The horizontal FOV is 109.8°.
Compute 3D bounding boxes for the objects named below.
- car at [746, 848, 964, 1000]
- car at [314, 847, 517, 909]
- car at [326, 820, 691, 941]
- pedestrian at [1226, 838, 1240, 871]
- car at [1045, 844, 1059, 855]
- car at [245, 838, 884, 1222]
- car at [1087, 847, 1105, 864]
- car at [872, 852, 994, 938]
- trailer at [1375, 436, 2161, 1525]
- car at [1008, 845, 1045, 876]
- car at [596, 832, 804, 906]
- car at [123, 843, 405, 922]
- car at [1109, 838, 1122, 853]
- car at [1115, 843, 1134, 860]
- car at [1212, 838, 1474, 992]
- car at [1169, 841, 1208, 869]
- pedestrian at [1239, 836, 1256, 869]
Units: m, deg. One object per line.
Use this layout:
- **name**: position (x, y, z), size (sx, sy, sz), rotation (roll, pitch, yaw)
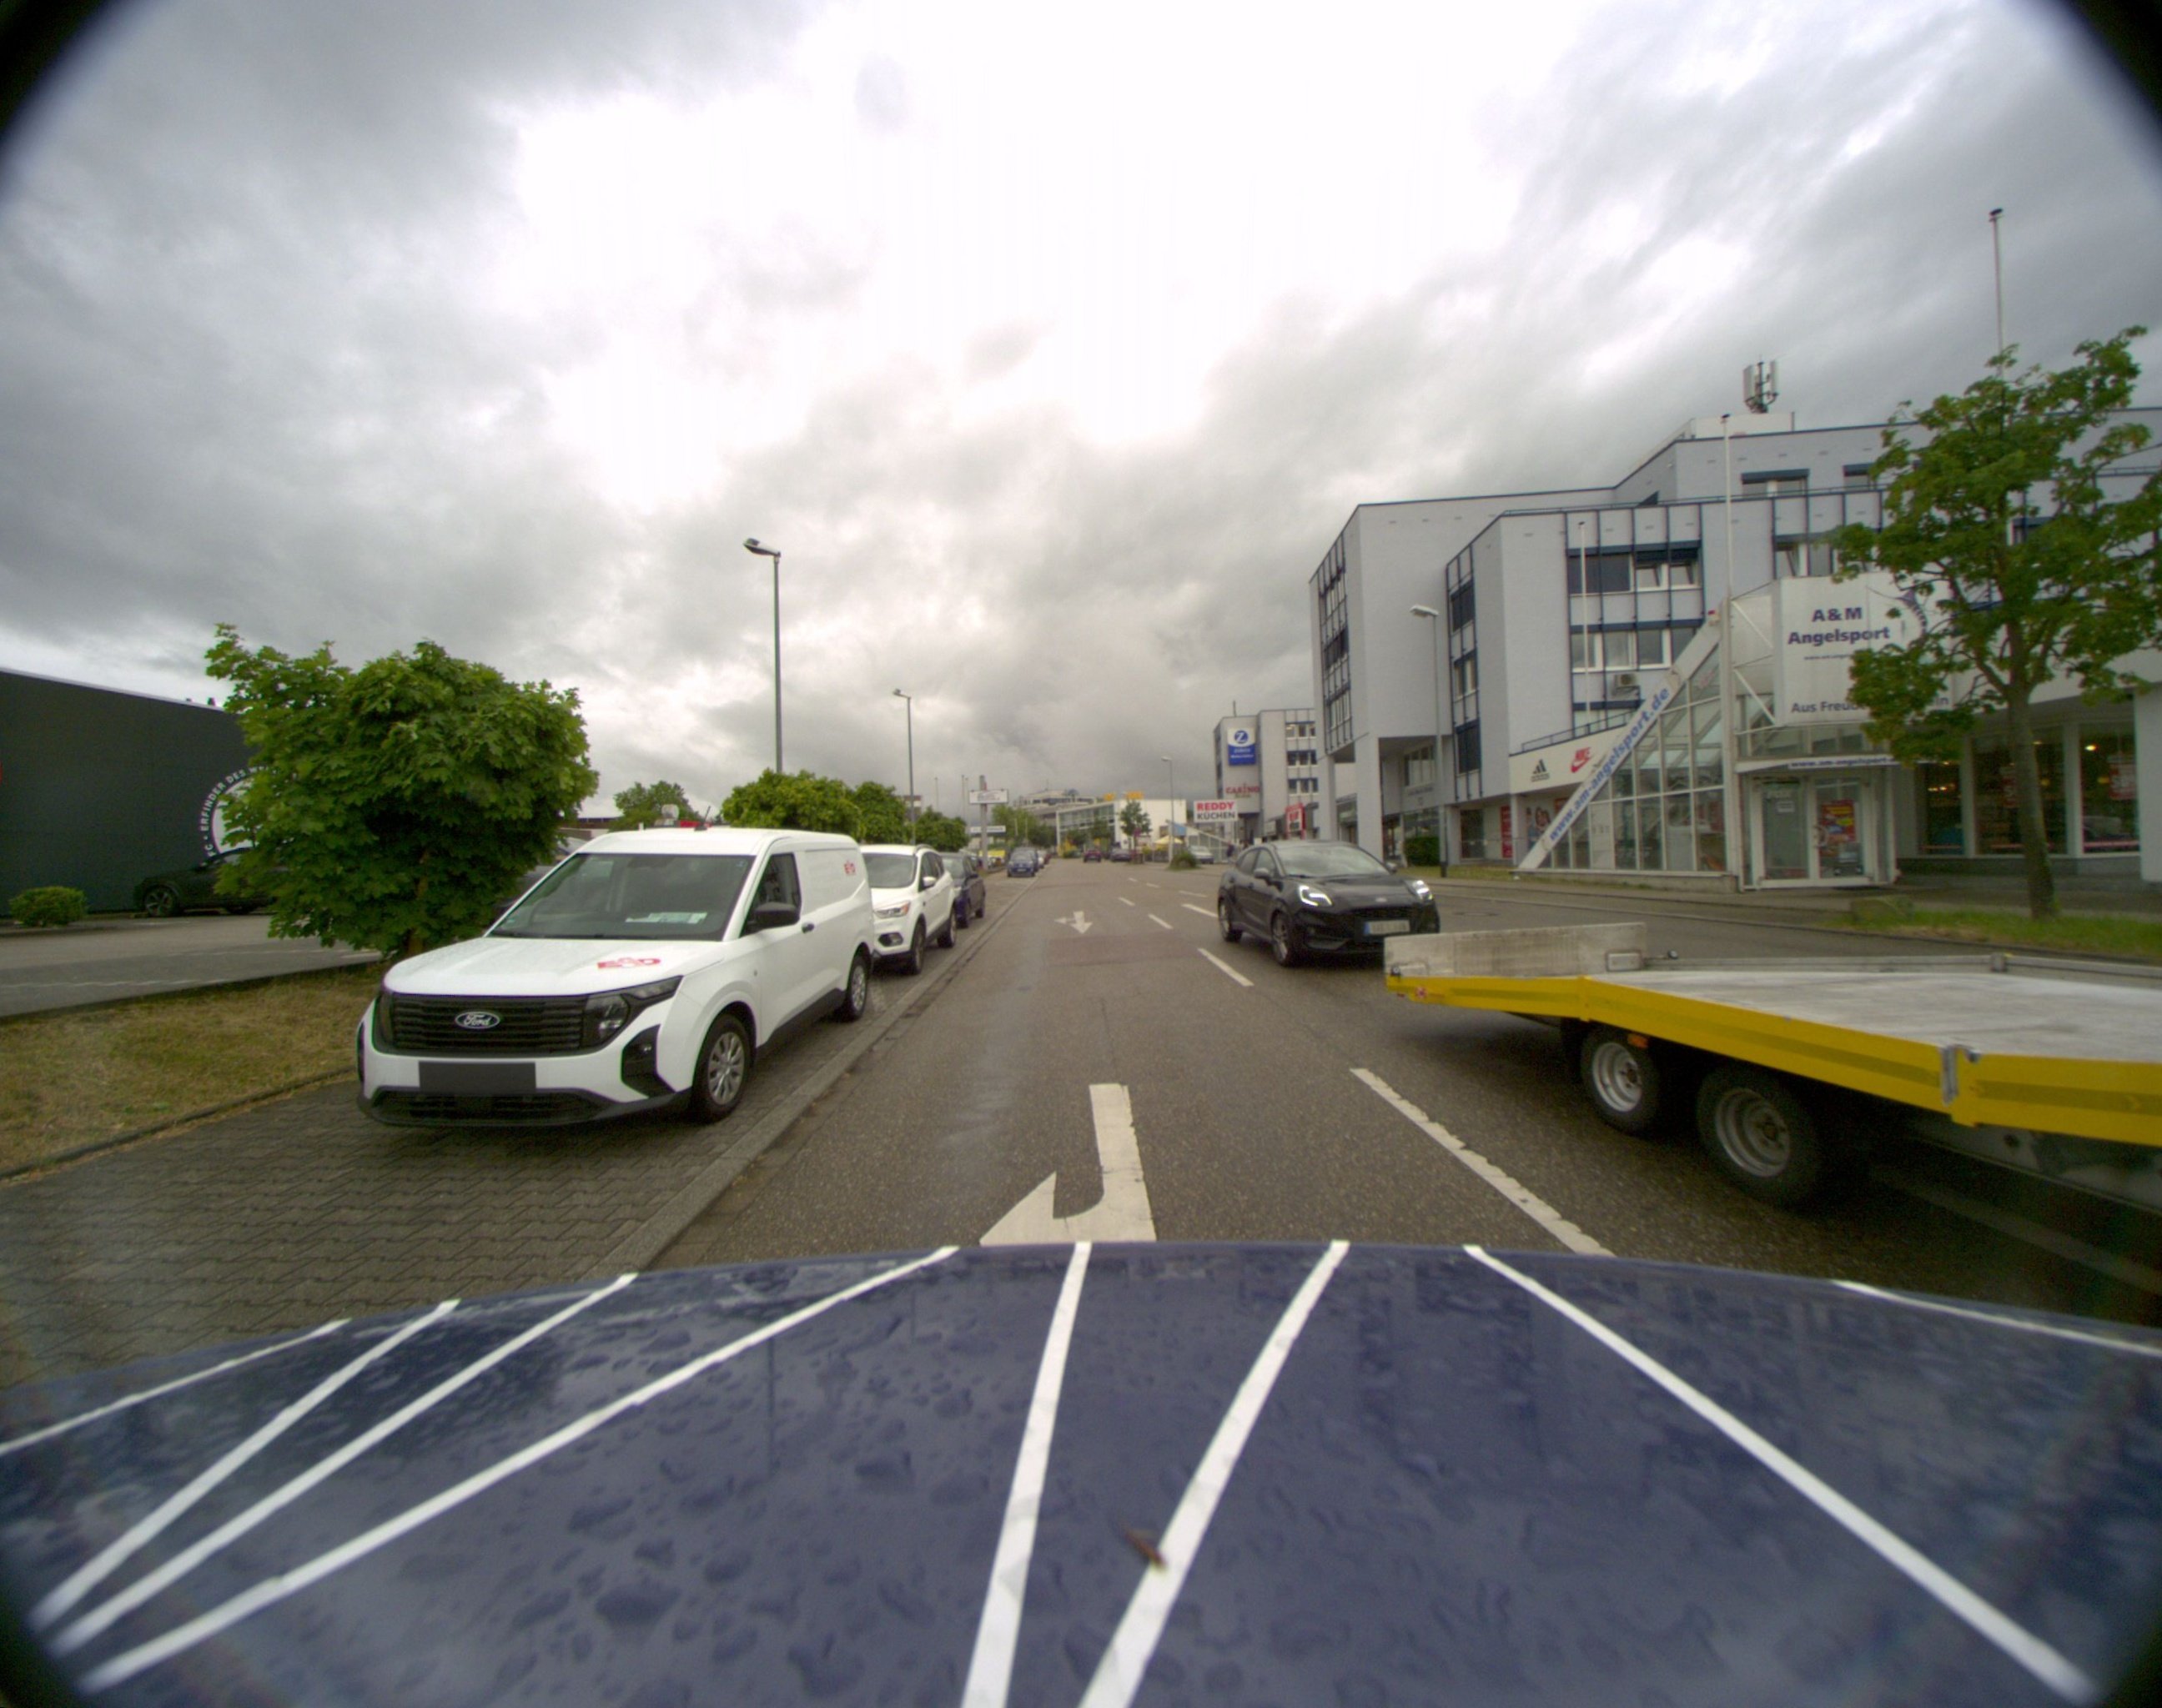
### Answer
- **car**: position (-2.947, 0.809, 10.887), size (1.822, 1.698, 3.999), rotation (-2, 1, 1)
- **car**: position (-20.765, 0.713, 23.889), size (4.501, 1.730, 1.891), rotation (-2, 1, -4)
- **car**: position (-9.319, 0.387, 12.740), size (4.501, 1.730, 1.891), rotation (-2, 1, -4)
- **pedestrian**: position (7.843, 0.013, 39.224), size (0.550, 1.698, 0.519), rotation (-2, 2, 2)
- **car**: position (-4.877, -0.785, 126.570), size (1.765, 1.755, 3.682), rotation (-3, 1, -9)
- **car**: position (-2.931, 0.784, 5.635), size (1.797, 1.773, 4.248), rotation (0, 1, 0)
- **car**: position (1.672, 0.167, 85.241), size (1.901, 1.755, 3.999), rotation (-2, 1, 1)
- **car**: position (-3.150, 0.807, 16.996), size (1.822, 1.589, 3.999), rotation (-2, 1, 1)
- **trailer**: position (3.580, 0.262, 2.086), size (2.309, 2.460, 7.968), rotation (-1, 2, -1)
- **car**: position (-3.265, 0.355, 46.063), size (1.822, 1.698, 3.999), rotation (-2, 1, 1)
- **car**: position (-10.008, 0.363, 20.261), size (4.501, 1.730, 1.891), rotation (-2, 1, -4)
- **car**: position (-20.354, 0.671, 19.131), size (4.741, 1.730, 1.891), rotation (-2, 1, -4)
- **car**: position (4.336, -1.068, 95.865), size (1.566, 1.807, 3.906), rotation (-2, 1, 1)
- **car**: position (4.662, -0.317, 80.983), size (1.801, 1.663, 3.667), rotation (-2, 1, 1)
- **car**: position (3.148, 0.628, 10.082), size (1.814, 1.531, 3.998), rotation (-3, 1, -4)
- **car**: position (6.688, 0.098, 47.599), size (1.822, 1.601, 4.000), rotation (-2, 0, 1)
- **pedestrian**: position (8.864, -0.094, 40.354), size (0.644, 1.733, 0.589), rotation (-1, 2, 33)
